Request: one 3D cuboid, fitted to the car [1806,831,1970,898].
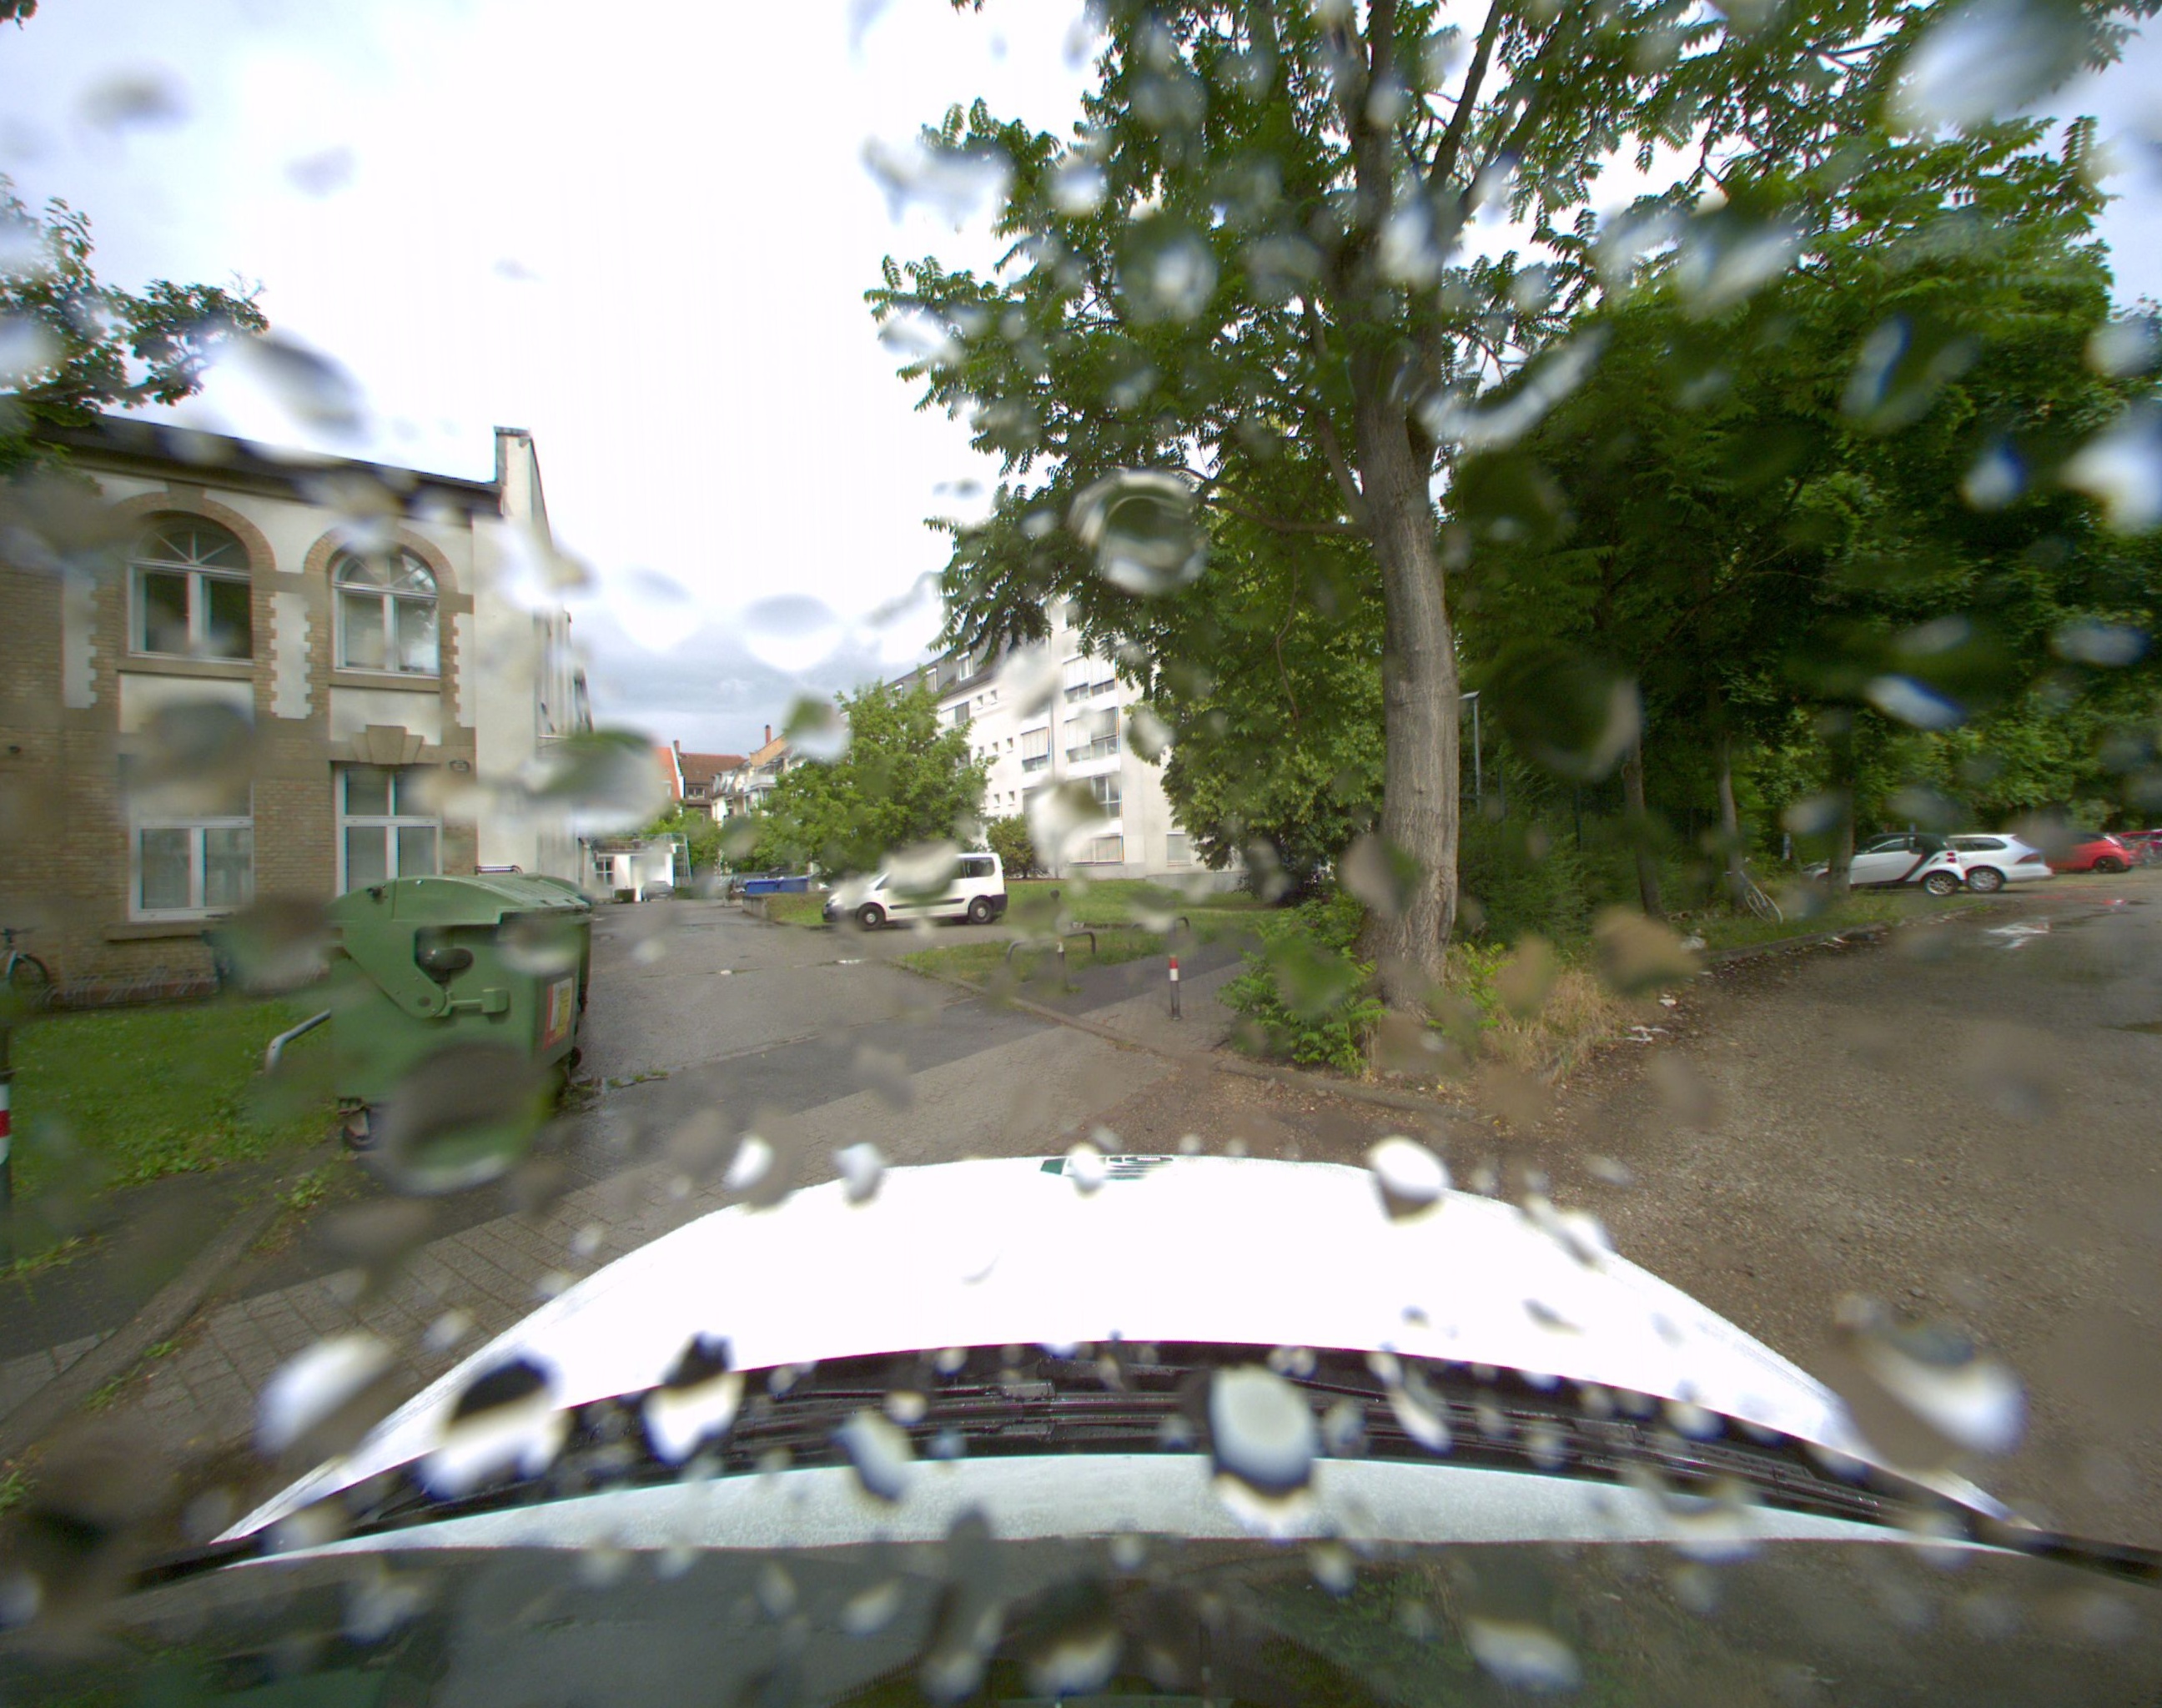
[{"bbox_3d":[19.771,0.263,20.005,1.602,1.484,2.729,-3,0,-43],"label":"car"}]

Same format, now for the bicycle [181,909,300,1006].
[{"bbox_3d":[-11.138,1.321,10.854,0.619,1.116,1.770,-2,-1,-30],"label":"bicycle"}]

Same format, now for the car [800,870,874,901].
[{"bbox_3d":[-13.303,1.711,44.443,3.440,1.427,1.670,-3,-1,-33],"label":"car"}]

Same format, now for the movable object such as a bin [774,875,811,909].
[{"bbox_3d":[-12.491,1.631,35.226,1.300,1.336,1.186,-2,-1,-29],"label":"movable object such as a bin"}]

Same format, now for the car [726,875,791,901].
[{"bbox_3d":[-22.662,2.398,57.305,3.939,1.513,1.733,-3,-1,-36],"label":"car"}]

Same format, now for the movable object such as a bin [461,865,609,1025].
[{"bbox_3d":[-5.878,0.912,8.775,1.173,1.483,1.480,-3,-1,-36],"label":"movable object such as a bin"}]

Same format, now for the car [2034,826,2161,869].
[{"bbox_3d":[39.232,-0.263,30.868,1.915,1.529,3.769,-2,1,-30],"label":"car"}]

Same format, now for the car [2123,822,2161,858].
[{"bbox_3d":[51.407,-0.680,37.913,1.878,1.620,3.558,-3,1,-37],"label":"car"}]

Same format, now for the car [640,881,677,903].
[{"bbox_3d":[-30.646,2.717,59.018,1.993,1.444,3.959,-1,-1,-33],"label":"car"}]

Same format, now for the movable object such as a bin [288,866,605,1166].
[{"bbox_3d":[-3.684,0.830,4.954,1.105,1.473,1.475,-1,-2,-20],"label":"movable object such as a bin"}]

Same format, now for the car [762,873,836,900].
[{"bbox_3d":[-17.722,2.039,51.174,4.018,1.458,1.753,-2,-1,-36],"label":"car"}]

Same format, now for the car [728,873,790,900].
[{"bbox_3d":[-23.861,2.396,60.387,3.936,1.687,1.798,-3,-1,-32],"label":"car"}]

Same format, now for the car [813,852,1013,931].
[{"bbox_3d":[-4.529,0.965,22.107,4.902,1.926,2.080,-1,-2,-29],"label":"car"}]

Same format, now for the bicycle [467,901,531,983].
[{"bbox_3d":[-8.779,1.290,12.328,0.619,1.116,1.505,-2,-1,-30],"label":"bicycle"}]

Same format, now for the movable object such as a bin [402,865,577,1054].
[{"bbox_3d":[-5.314,0.857,7.396,1.173,1.483,1.387,-1,-1,-35],"label":"movable object such as a bin"}]

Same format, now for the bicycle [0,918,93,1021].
[{"bbox_3d":[-12.840,1.373,9.799,0.619,1.116,1.770,-2,-1,-30],"label":"bicycle"}]

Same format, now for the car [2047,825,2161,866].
[{"bbox_3d":[41.122,-0.340,31.906,2.000,1.496,3.961,-3,1,-31],"label":"car"}]

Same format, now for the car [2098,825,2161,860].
[{"bbox_3d":[48.839,-0.529,36.476,1.771,1.560,3.958,-3,1,-33],"label":"car"}]

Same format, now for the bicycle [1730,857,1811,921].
[{"bbox_3d":[10.463,0.509,12.346,1.460,0.860,0.472,-3,1,-30],"label":"bicycle"}]

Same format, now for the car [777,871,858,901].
[{"bbox_3d":[-15.109,1.815,46.782,4.016,1.445,1.787,-3,-1,-34],"label":"car"}]

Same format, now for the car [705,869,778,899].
[{"bbox_3d":[-25.981,2.270,62.421,4.676,2.003,2.198,-3,0,-41],"label":"car"}]

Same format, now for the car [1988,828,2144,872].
[{"bbox_3d":[34.870,-0.147,28.906,1.596,1.425,3.265,-2,1,-27],"label":"car"}]

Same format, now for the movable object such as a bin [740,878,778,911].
[{"bbox_3d":[-13.624,1.711,34.484,1.345,1.292,1.085,-2,0,-29],"label":"movable object such as a bin"}]

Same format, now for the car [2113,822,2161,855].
[{"bbox_3d":[53.178,-0.785,39.430,1.966,1.573,3.828,-3,1,-34],"label":"car"}]

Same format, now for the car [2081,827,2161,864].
[{"bbox_3d":[45.924,-0.357,34.786,1.813,1.516,3.913,-3,1,-35],"label":"car"}]

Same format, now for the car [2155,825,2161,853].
[{"bbox_3d":[64.311,-0.919,46.287,1.966,1.573,3.828,-3,1,-34],"label":"car"}]

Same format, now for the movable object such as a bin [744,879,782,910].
[{"bbox_3d":[-14.127,1.787,36.184,1.380,1.304,1.073,-2,-1,-29],"label":"movable object such as a bin"}]

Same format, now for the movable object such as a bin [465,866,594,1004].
[{"bbox_3d":[-6.818,0.941,10.075,1.173,1.483,1.577,-3,-1,-36],"label":"movable object such as a bin"}]

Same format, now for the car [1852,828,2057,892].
[{"bbox_3d":[22.125,0.172,20.770,1.750,1.468,3.401,-3,0,-43],"label":"car"}]

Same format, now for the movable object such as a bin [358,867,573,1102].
[{"bbox_3d":[-4.611,0.858,6.170,1.173,1.483,1.387,-1,0,-37],"label":"movable object such as a bin"}]

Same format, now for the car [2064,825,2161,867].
[{"bbox_3d":[43.990,-0.324,33.721,1.855,1.650,4.076,-3,1,-35],"label":"car"}]
